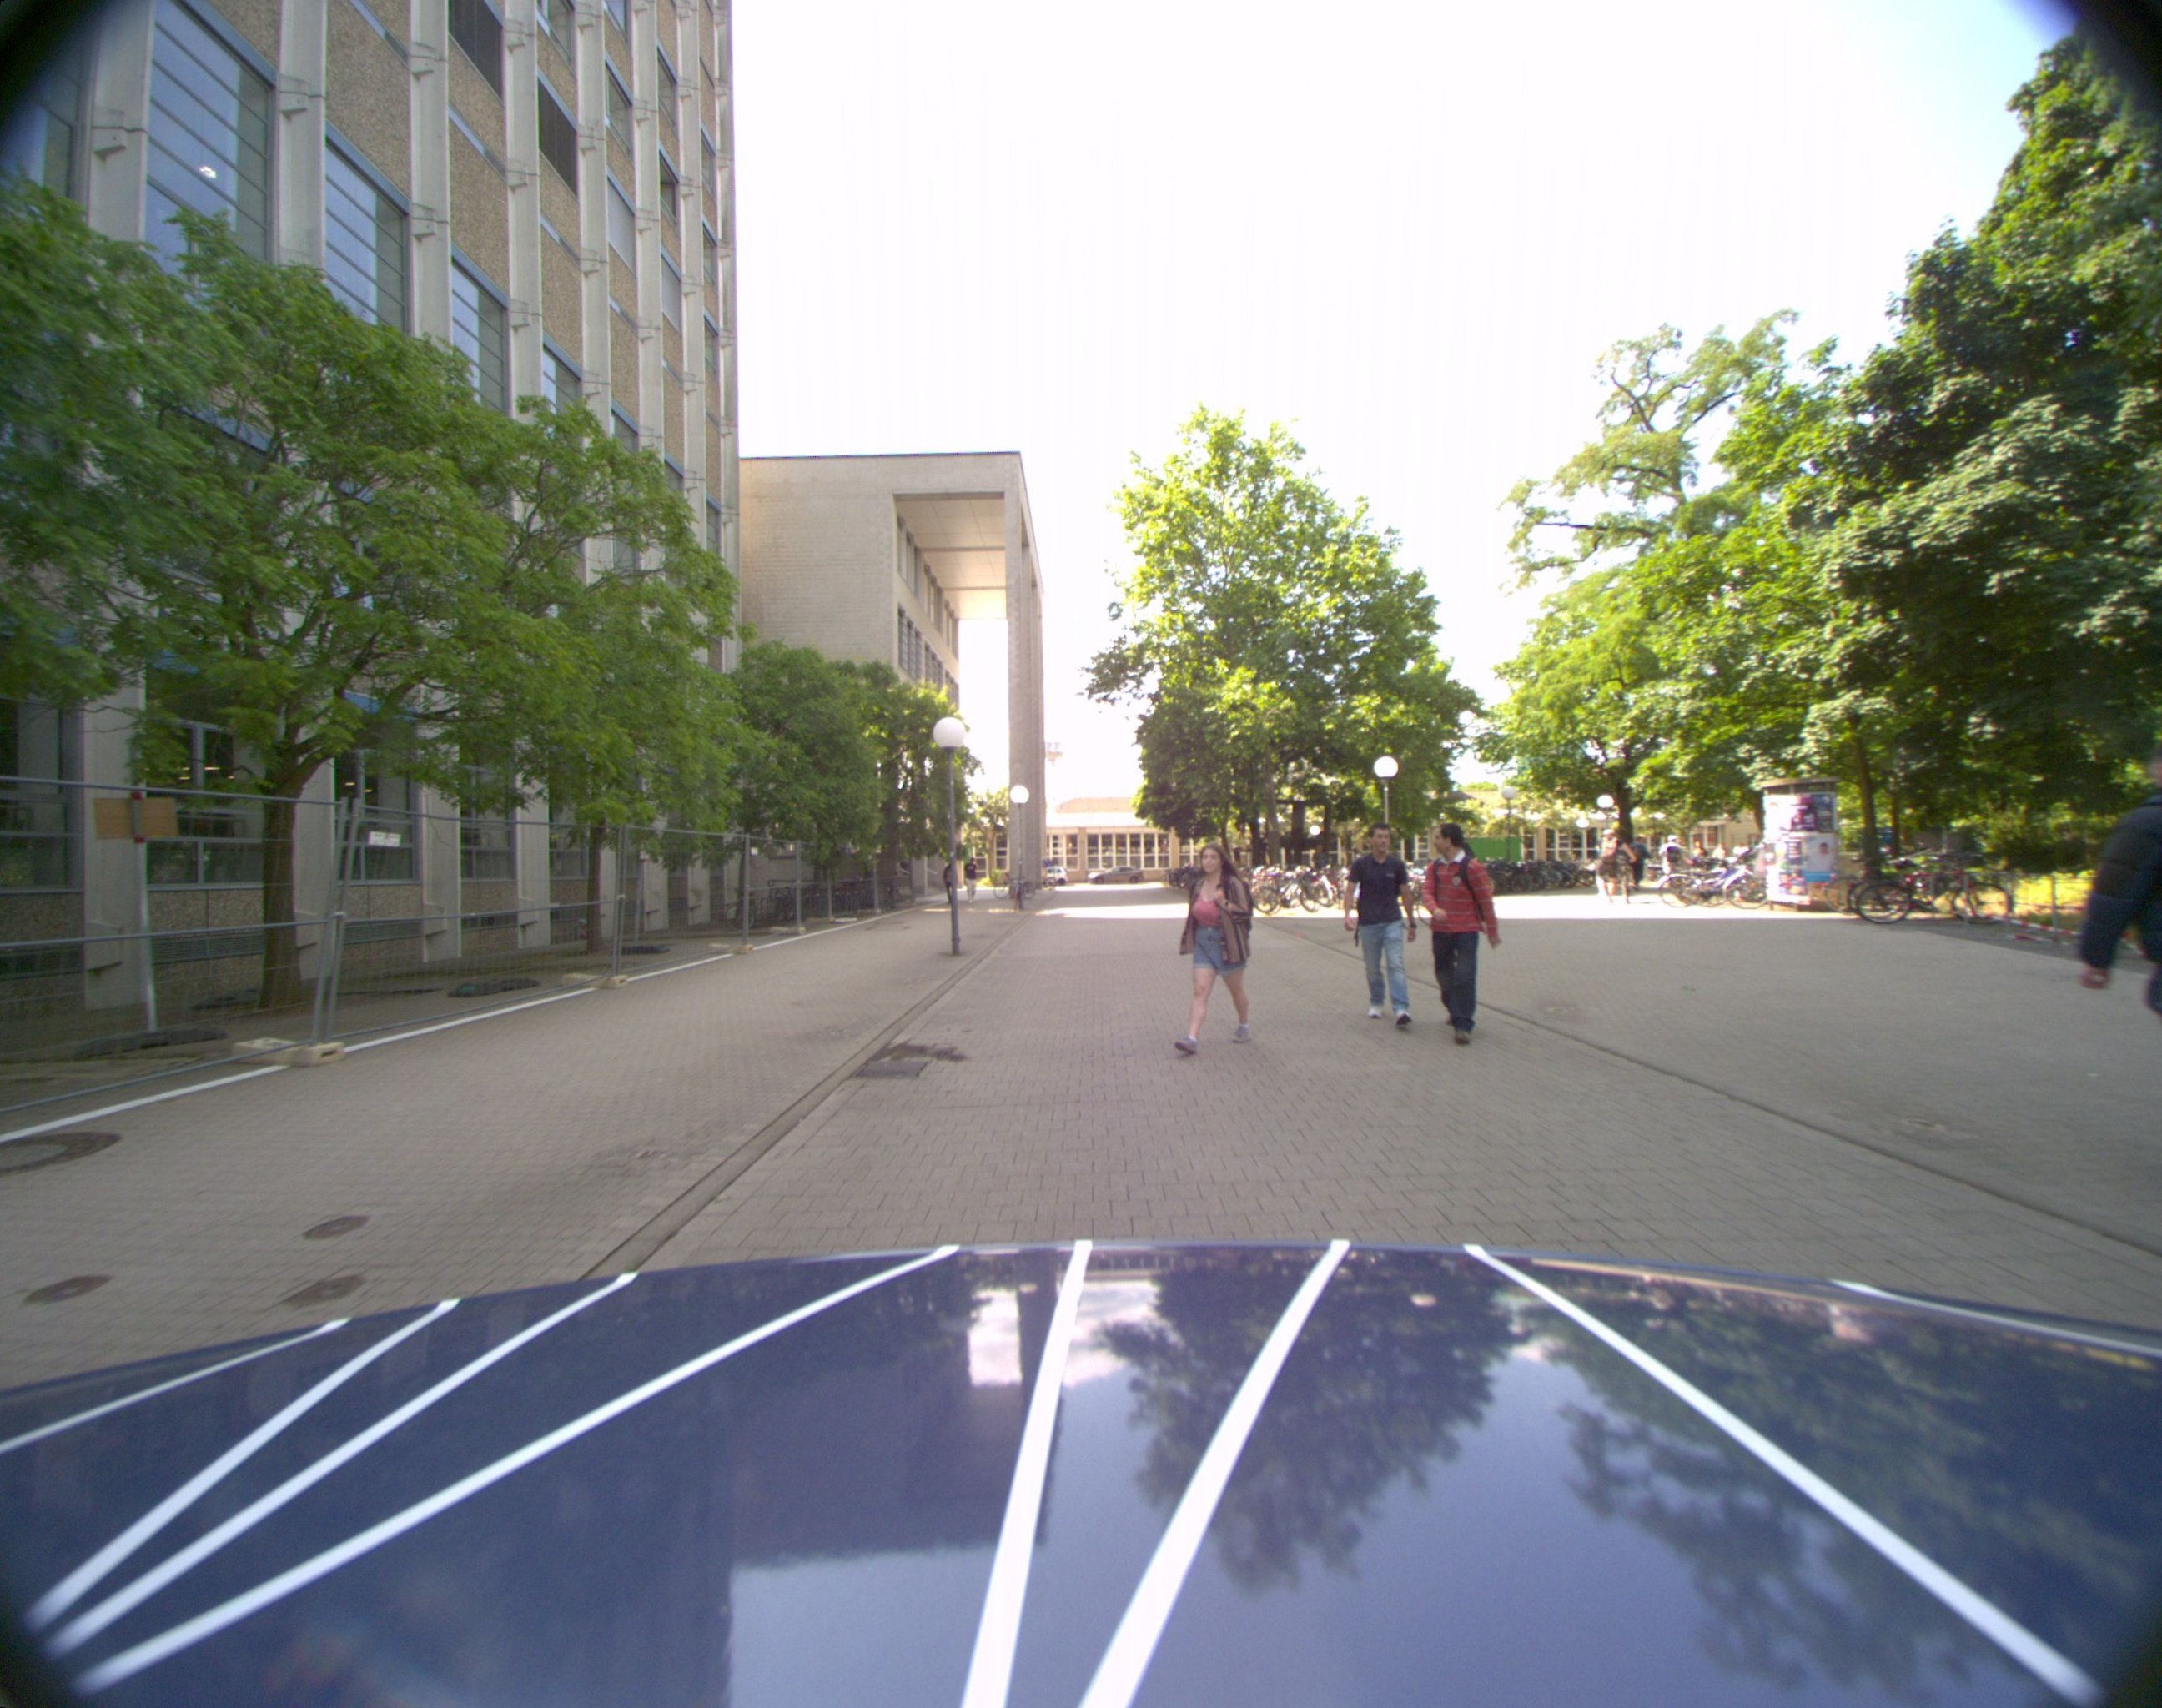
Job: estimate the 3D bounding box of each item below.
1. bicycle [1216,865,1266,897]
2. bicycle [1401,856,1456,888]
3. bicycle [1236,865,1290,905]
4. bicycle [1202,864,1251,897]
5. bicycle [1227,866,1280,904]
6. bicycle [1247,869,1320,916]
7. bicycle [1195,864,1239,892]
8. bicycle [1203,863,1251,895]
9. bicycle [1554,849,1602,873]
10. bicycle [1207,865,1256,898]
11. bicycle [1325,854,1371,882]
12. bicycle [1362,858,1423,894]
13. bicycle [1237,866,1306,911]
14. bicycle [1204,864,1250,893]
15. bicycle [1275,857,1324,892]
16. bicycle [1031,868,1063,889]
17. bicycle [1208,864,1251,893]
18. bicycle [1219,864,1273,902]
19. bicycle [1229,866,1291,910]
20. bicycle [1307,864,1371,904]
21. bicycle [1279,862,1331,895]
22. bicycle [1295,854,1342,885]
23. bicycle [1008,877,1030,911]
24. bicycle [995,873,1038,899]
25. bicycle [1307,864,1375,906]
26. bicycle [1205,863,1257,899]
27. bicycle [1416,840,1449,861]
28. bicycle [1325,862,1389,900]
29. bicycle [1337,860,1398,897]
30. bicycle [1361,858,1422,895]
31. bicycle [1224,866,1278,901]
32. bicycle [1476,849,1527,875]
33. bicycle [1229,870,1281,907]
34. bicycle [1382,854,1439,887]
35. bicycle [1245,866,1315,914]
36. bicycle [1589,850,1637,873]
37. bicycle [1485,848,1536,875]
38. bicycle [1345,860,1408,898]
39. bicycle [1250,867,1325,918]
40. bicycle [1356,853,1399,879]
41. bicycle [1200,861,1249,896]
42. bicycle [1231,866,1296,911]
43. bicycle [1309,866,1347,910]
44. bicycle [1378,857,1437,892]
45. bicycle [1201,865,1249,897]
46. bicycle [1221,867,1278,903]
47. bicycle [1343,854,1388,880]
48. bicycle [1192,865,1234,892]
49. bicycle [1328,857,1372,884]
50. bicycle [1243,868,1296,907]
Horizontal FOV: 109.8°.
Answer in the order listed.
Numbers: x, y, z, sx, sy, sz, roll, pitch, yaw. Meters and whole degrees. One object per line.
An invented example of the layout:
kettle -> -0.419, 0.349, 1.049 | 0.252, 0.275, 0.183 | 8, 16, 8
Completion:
bicycle -> 5.881, 0.986, 27.991 | 1.700, 1.101, 0.474 | -3, 0, -10
bicycle -> 12.339, 0.654, 27.024 | 0.475, 1.077, 1.695 | -3, 0, -44
bicycle -> 5.838, 0.970, 24.336 | 1.701, 1.150, 0.473 | -3, 0, -26
bicycle -> 5.521, 0.989, 28.827 | 1.700, 1.139, 0.474 | -3, 0, -11
bicycle -> 5.631, 1.004, 24.752 | 1.701, 1.101, 0.473 | -3, 0, -26
bicycle -> 5.160, 0.962, 19.381 | 1.699, 1.085, 0.474 | -3, 0, -5
bicycle -> 5.837, 1.020, 32.584 | 1.740, 1.119, 0.497 | -3, 0, -4
bicycle -> 5.828, 0.983, 30.388 | 1.739, 1.171, 0.497 | -3, 0, 0
bicycle -> 24.081, 0.339, 36.816 | 0.475, 1.077, 1.854 | -3, 0, -37
bicycle -> 5.617, 1.026, 28.368 | 1.700, 1.101, 0.474 | -3, 0, -11
bicycle -> 11.203, 0.596, 31.957 | 1.695, 1.101, 0.504 | -3, 0, 37
bicycle -> 10.068, 0.721, 24.591 | 1.695, 1.077, 0.475 | -3, 0, 37
bicycle -> 5.256, 0.952, 20.993 | 1.778, 1.161, 0.474 | -3, 0, 14
bicycle -> 5.962, 0.990, 31.077 | 1.741, 1.101, 0.496 | -3, 0, -11
bicycle -> 8.259, 0.754, 28.710 | 1.700, 1.213, 0.502 | -3, 0, -10
bicycle -> -1.984, 1.437, 44.377 | 1.885, 1.157, 0.605 | -1, -1, -4
bicycle -> 6.231, 1.030, 31.927 | 1.742, 1.101, 0.496 | -3, 0, -23
bicycle -> 5.643, 0.978, 26.012 | 1.700, 1.180, 0.474 | -3, 0, -10
bicycle -> 5.248, 0.973, 22.247 | 1.700, 1.161, 0.473 | -3, 0, -16
bicycle -> 7.524, 0.876, 22.209 | 1.696, 1.077, 0.474 | -3, 0, 14
bicycle -> 8.145, 0.882, 27.654 | 1.700, 1.101, 0.502 | -3, 0, -10
bicycle -> 9.726, 0.642, 31.108 | 1.695, 1.192, 0.577 | -3, 0, 37
bicycle -> -2.028, 1.296, 25.076 | 0.538, 1.033, 1.859 | -2, 0, 1
bicycle -> -2.713, 1.348, 31.850 | 1.743, 1.033, 0.449 | -2, -1, -4
bicycle -> 7.215, 0.861, 21.141 | 1.697, 1.077, 0.474 | -3, 0, 13
bicycle -> 5.421, 0.968, 27.399 | 1.699, 1.191, 0.536 | -3, 0, -7
bicycle -> 22.229, -0.210, 48.010 | 1.888, 1.164, 0.804 | -4, -2, -25
bicycle -> 8.295, 0.812, 22.860 | 1.695, 1.077, 0.475 | -3, 0, 36
bicycle -> 9.057, 0.784, 24.033 | 1.695, 1.077, 0.475 | -3, 0, 32
bicycle -> 9.857, 0.725, 24.153 | 1.695, 1.077, 0.475 | -3, 0, 37
bicycle -> 5.943, 1.017, 26.560 | 1.700, 1.101, 0.565 | -3, 0, -10
bicycle -> 18.188, 0.364, 32.919 | 0.475, 1.077, 1.854 | -3, 0, -37
bicycle -> 5.379, 1.047, 23.492 | 1.702, 1.012, 0.473 | -3, 0, -34
bicycle -> 11.448, 0.588, 26.400 | 1.695, 1.077, 0.475 | -3, 0, 37
bicycle -> 5.265, 0.947, 20.141 | 1.699, 1.161, 0.474 | -3, 0, -5
bicycle -> 26.520, 0.364, 37.891 | 0.475, 1.077, 1.854 | -3, 0, -37
bicycle -> 18.718, 0.342, 33.143 | 0.475, 1.077, 1.854 | -3, 0, -37
bicycle -> 9.099, 0.774, 23.420 | 1.695, 1.077, 0.475 | -3, 0, 32
bicycle -> 5.127, 0.948, 18.913 | 1.699, 1.152, 0.474 | -3, 0, -8
bicycle -> 13.542, 0.554, 34.701 | 1.695, 1.101, 0.504 | -3, 0, 41
bicycle -> 5.620, 0.954, 29.830 | 1.740, 1.228, 0.497 | -3, 0, -6
bicycle -> 5.211, 0.967, 21.705 | 1.700, 1.161, 0.474 | -3, 0, -12
bicycle -> 6.498, 0.871, 20.037 | 0.508, 1.077, 1.700 | -3, 0, 4
bicycle -> 10.907, 0.698, 25.427 | 1.695, 1.077, 0.475 | -3, 0, 37
bicycle -> 5.549, 1.030, 29.352 | 1.699, 1.101, 0.496 | -3, 0, -10
bicycle -> 5.645, 1.020, 25.484 | 1.700, 1.101, 0.582 | -3, 0, -10
bicycle -> 12.665, 0.586, 33.852 | 1.695, 1.101, 0.632 | -3, 0, 41
bicycle -> 5.761, 1.067, 33.206 | 1.739, 1.101, 0.497 | -3, 0, 1
bicycle -> 11.730, 0.738, 33.177 | 1.695, 1.101, 0.504 | -3, 0, 41
bicycle -> 5.746, 1.013, 23.133 | 1.702, 1.055, 0.473 | -3, 0, -34
